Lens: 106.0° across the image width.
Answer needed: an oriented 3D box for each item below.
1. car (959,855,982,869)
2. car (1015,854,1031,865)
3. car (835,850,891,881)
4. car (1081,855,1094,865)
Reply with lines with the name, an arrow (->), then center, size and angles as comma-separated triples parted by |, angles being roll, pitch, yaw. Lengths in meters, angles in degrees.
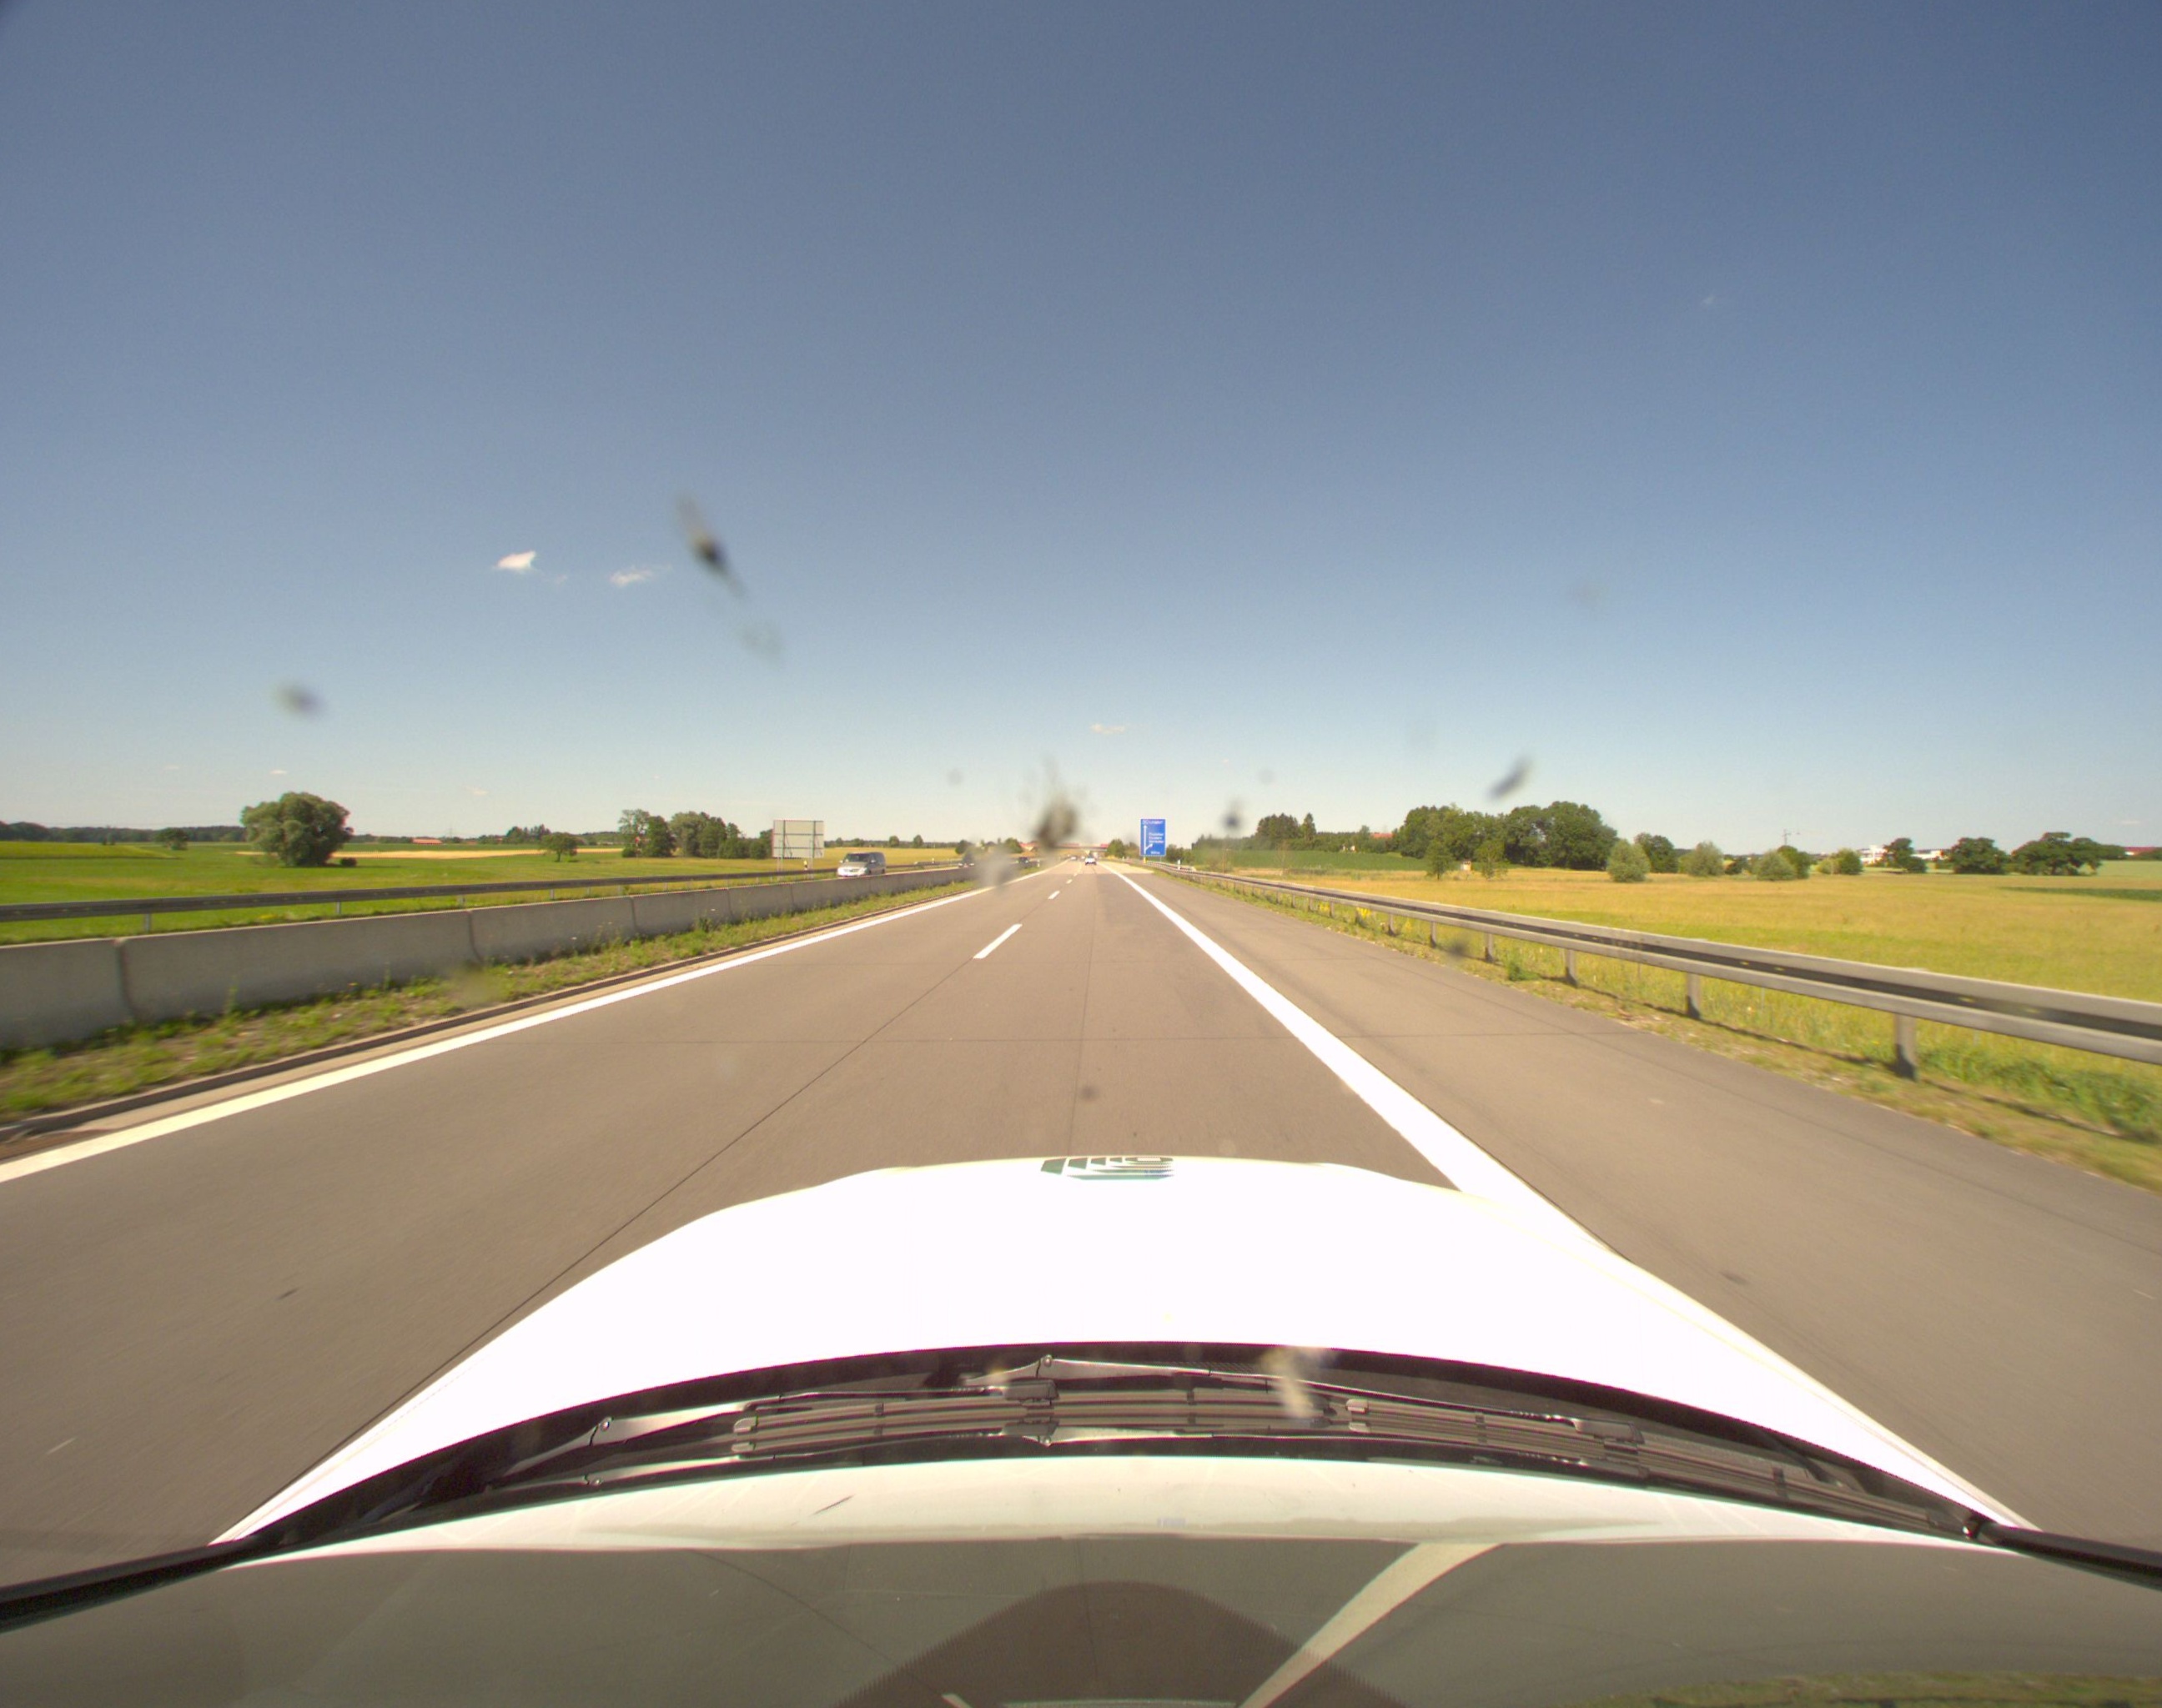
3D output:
car -> -12.662, 0.936, 93.831 | 1.891, 1.523, 4.806 | -1, 0, 1
car -> -8.734, 0.810, 123.020 | 1.891, 1.523, 4.806 | -1, 0, 1
car -> -13.649, 0.682, 51.251 | 1.947, 1.842, 5.450 | -1, 0, 1
car -> 1.105, 1.044, 137.533 | 1.988, 1.731, 4.866 | 0, 0, -1
